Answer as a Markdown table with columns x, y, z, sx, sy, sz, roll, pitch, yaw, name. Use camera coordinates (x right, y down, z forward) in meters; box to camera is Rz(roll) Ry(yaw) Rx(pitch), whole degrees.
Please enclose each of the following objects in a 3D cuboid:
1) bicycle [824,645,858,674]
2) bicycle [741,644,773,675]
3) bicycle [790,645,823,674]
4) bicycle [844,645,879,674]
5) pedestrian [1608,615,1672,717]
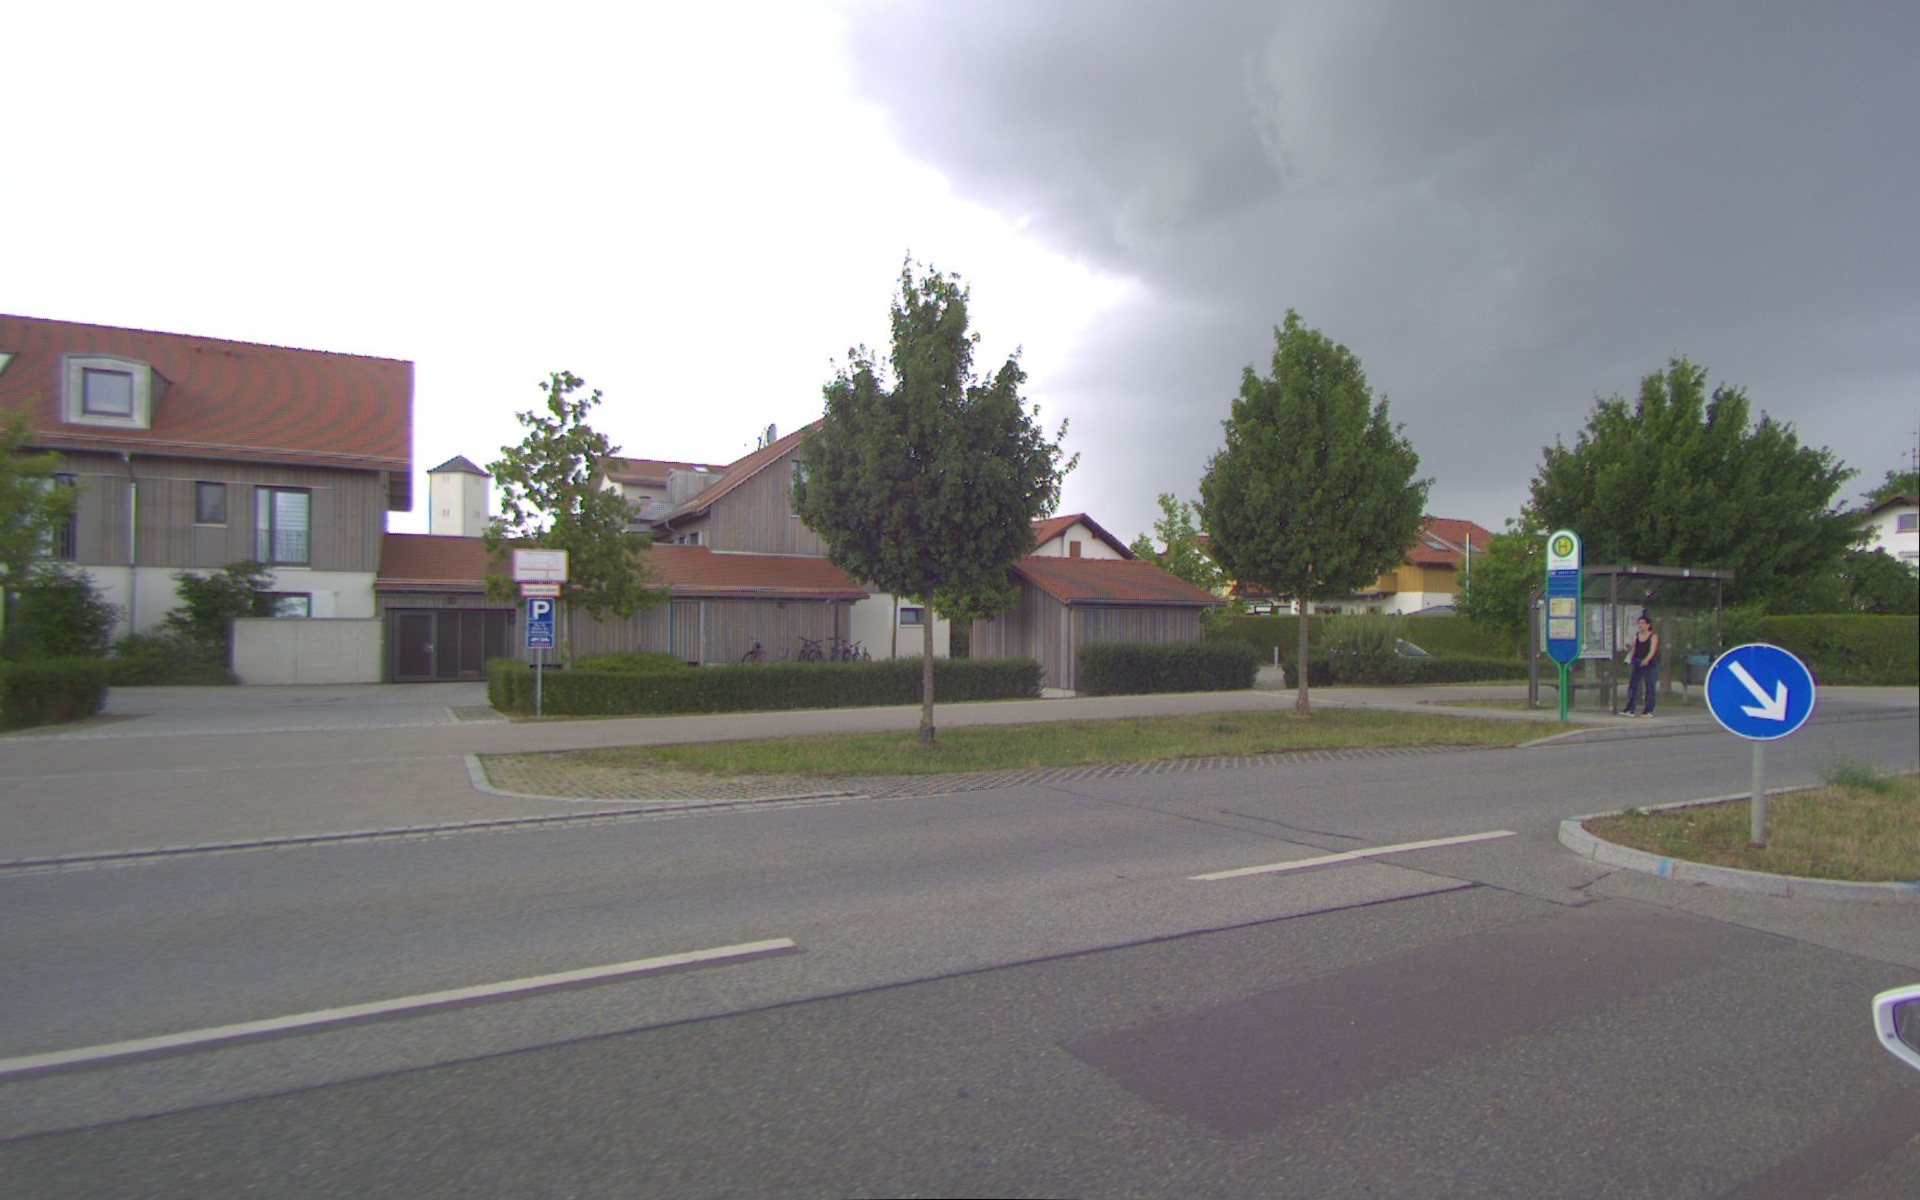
| x | y | z | sx | sy | sz | roll | pitch | yaw | name |
| --- | --- | --- | --- | --- | --- | --- | --- | --- | --- |
| -4.137 | 2.041 | 34.832 | 0.414 | 0.921 | 1.932 | 1 | -1 | -31 | bicycle |
| -6.738 | 1.955 | 33.223 | 0.414 | 0.921 | 1.932 | 1 | -1 | -31 | bicycle |
| -5.232 | 2.014 | 34.176 | 0.414 | 0.921 | 1.932 | 1 | -1 | -31 | bicycle |
| -3.457 | 2.069 | 35.214 | 0.414 | 0.921 | 1.932 | 1 | -1 | -31 | bicycle |
| 11.337 | 1.087 | 16.748 | 0.803 | 1.658 | 0.585 | 1 | -1 | -30 | pedestrian |
